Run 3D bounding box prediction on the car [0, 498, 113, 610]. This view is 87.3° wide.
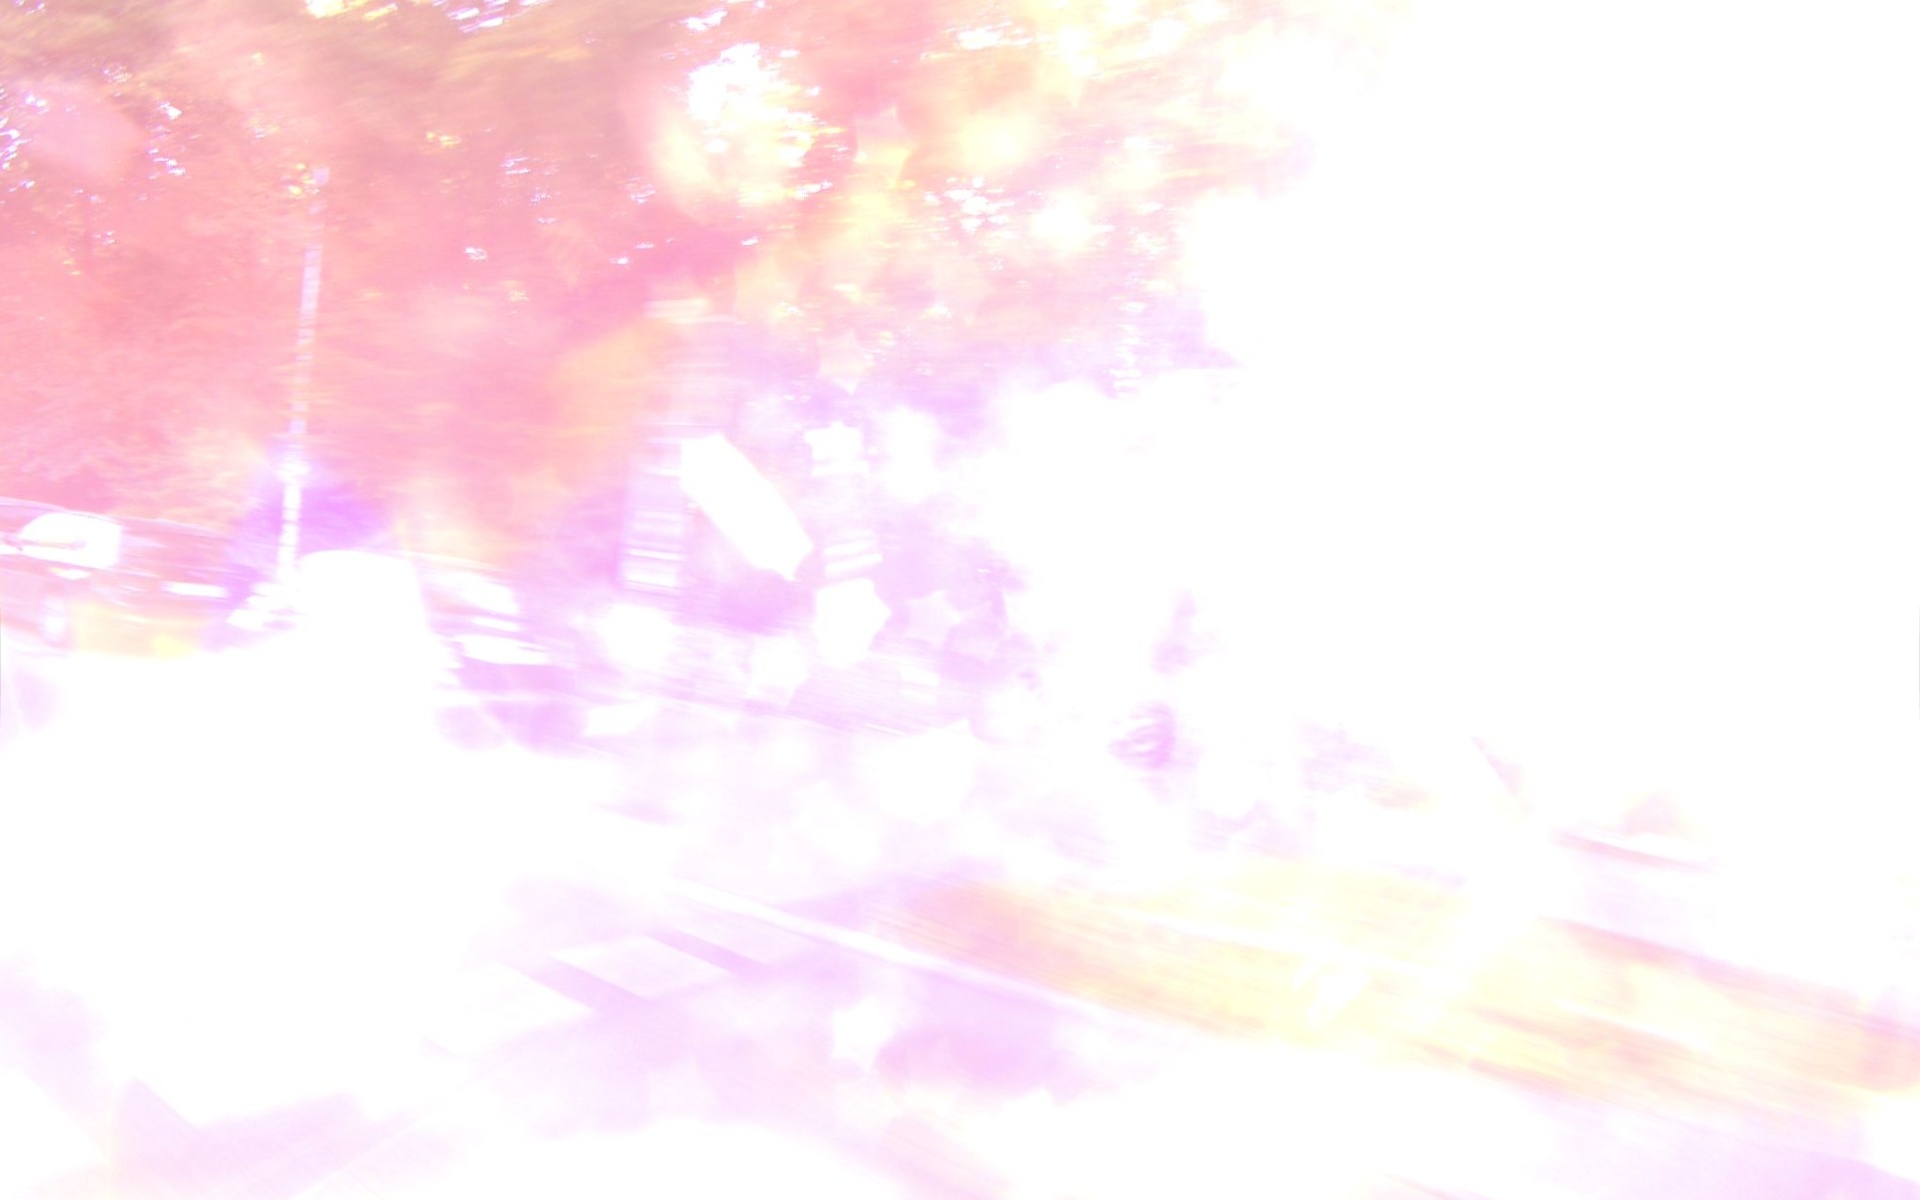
[{"bbox_3d":[-14.874,-0.835,15.388,4.134,1.487,1.719,6,0,33],"label":"car"}]

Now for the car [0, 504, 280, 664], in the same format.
[{"bbox_3d":[-10.424,-0.279,12.223,4.906,1.487,1.719,6,0,33],"label":"car"}]

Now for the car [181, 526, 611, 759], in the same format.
[{"bbox_3d":[-5.062,0.288,8.920,3.695,1.487,1.719,6,0,33],"label":"car"}]

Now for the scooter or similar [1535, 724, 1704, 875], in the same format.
[{"bbox_3d":[6.205,1.845,9.493,1.205,1.158,0.378,7,0,38],"label":"scooter or similar"}]
